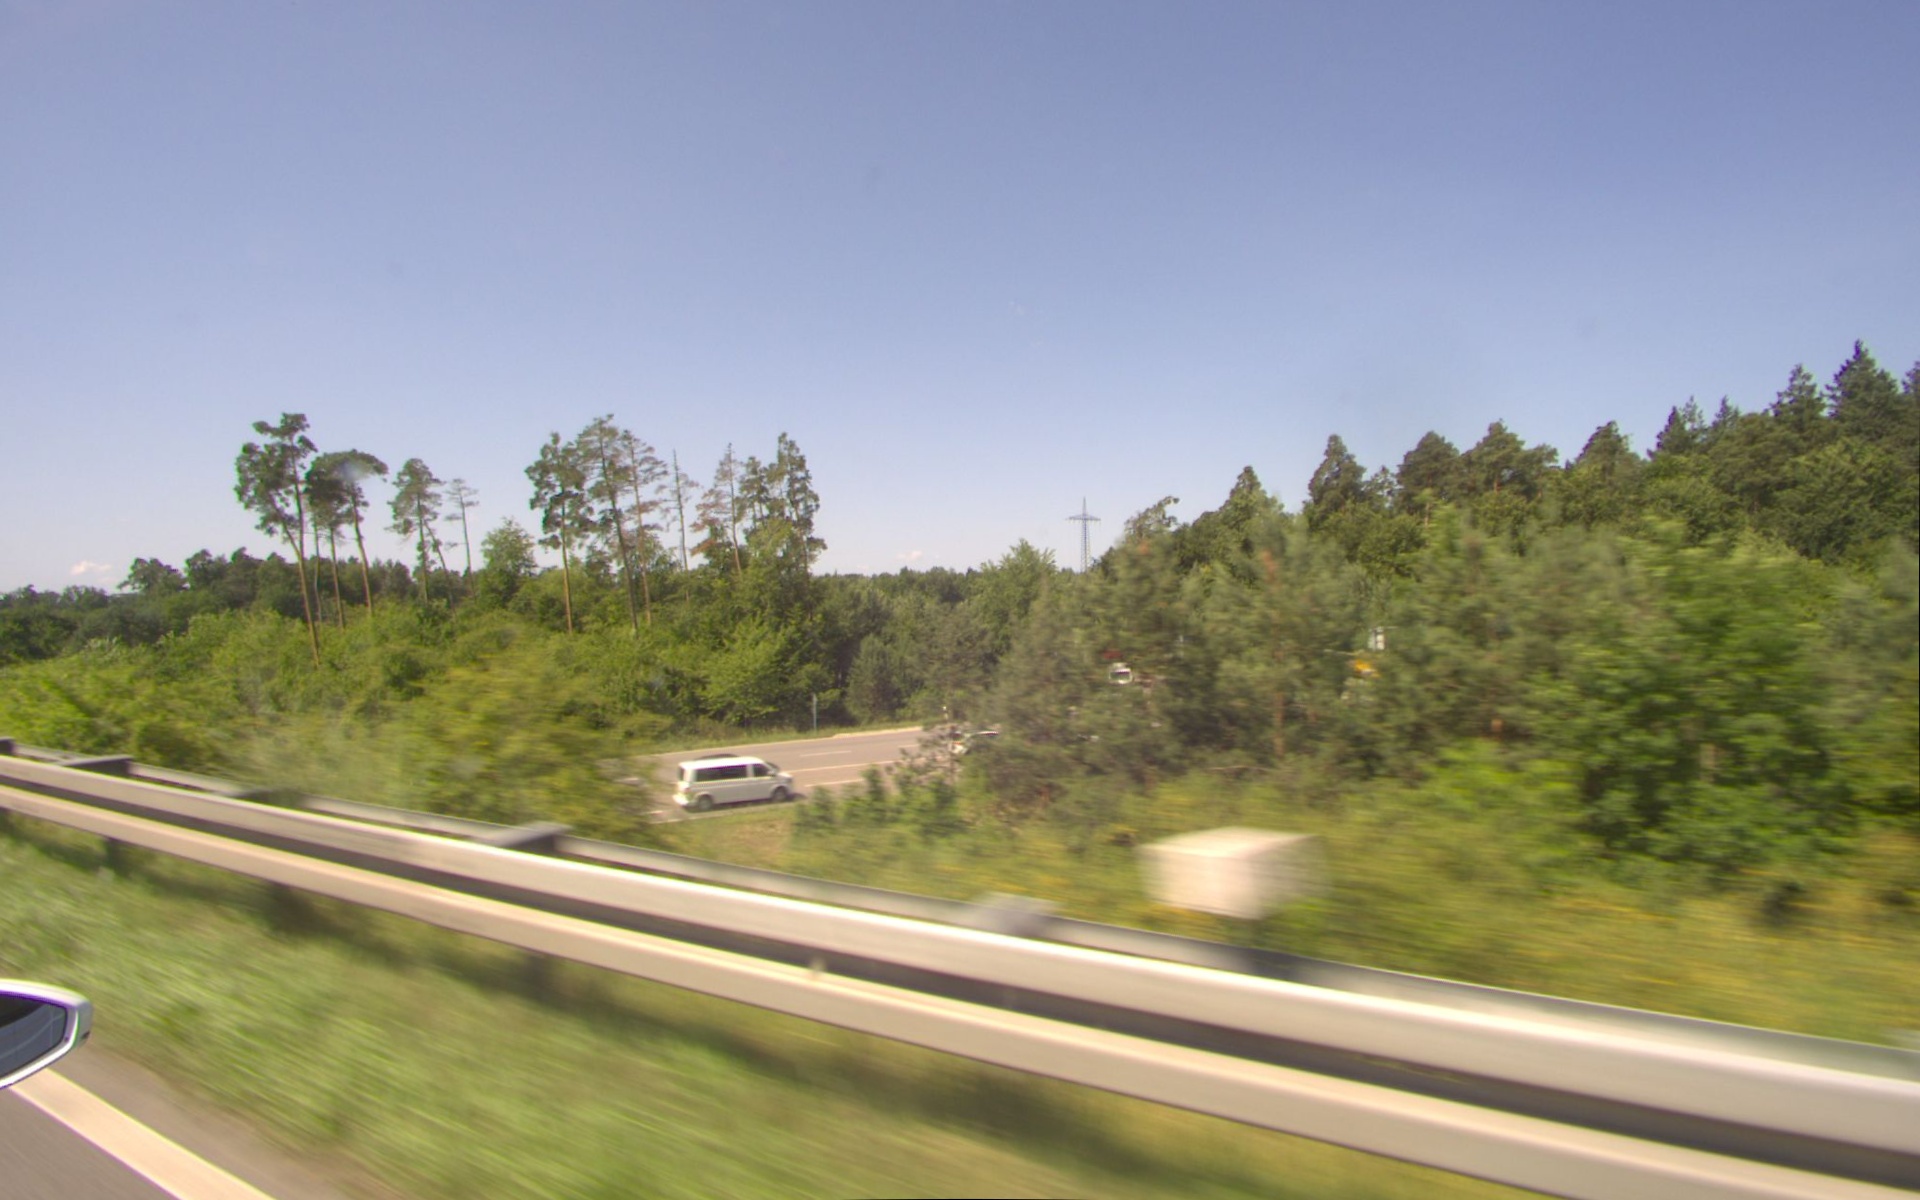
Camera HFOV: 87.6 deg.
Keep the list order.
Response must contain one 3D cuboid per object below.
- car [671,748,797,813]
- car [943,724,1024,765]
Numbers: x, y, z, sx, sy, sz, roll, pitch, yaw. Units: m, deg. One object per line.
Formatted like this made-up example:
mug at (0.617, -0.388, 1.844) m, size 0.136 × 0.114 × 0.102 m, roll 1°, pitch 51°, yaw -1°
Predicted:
car at (-10.030, 7.958, 44.525) m, size 5.158 × 1.992 × 1.895 m, roll -1°, pitch 3°, yaw -30°
car at (1.279, 7.831, 54.522) m, size 4.065 × 1.655 × 1.750 m, roll -1°, pitch 3°, yaw -23°
